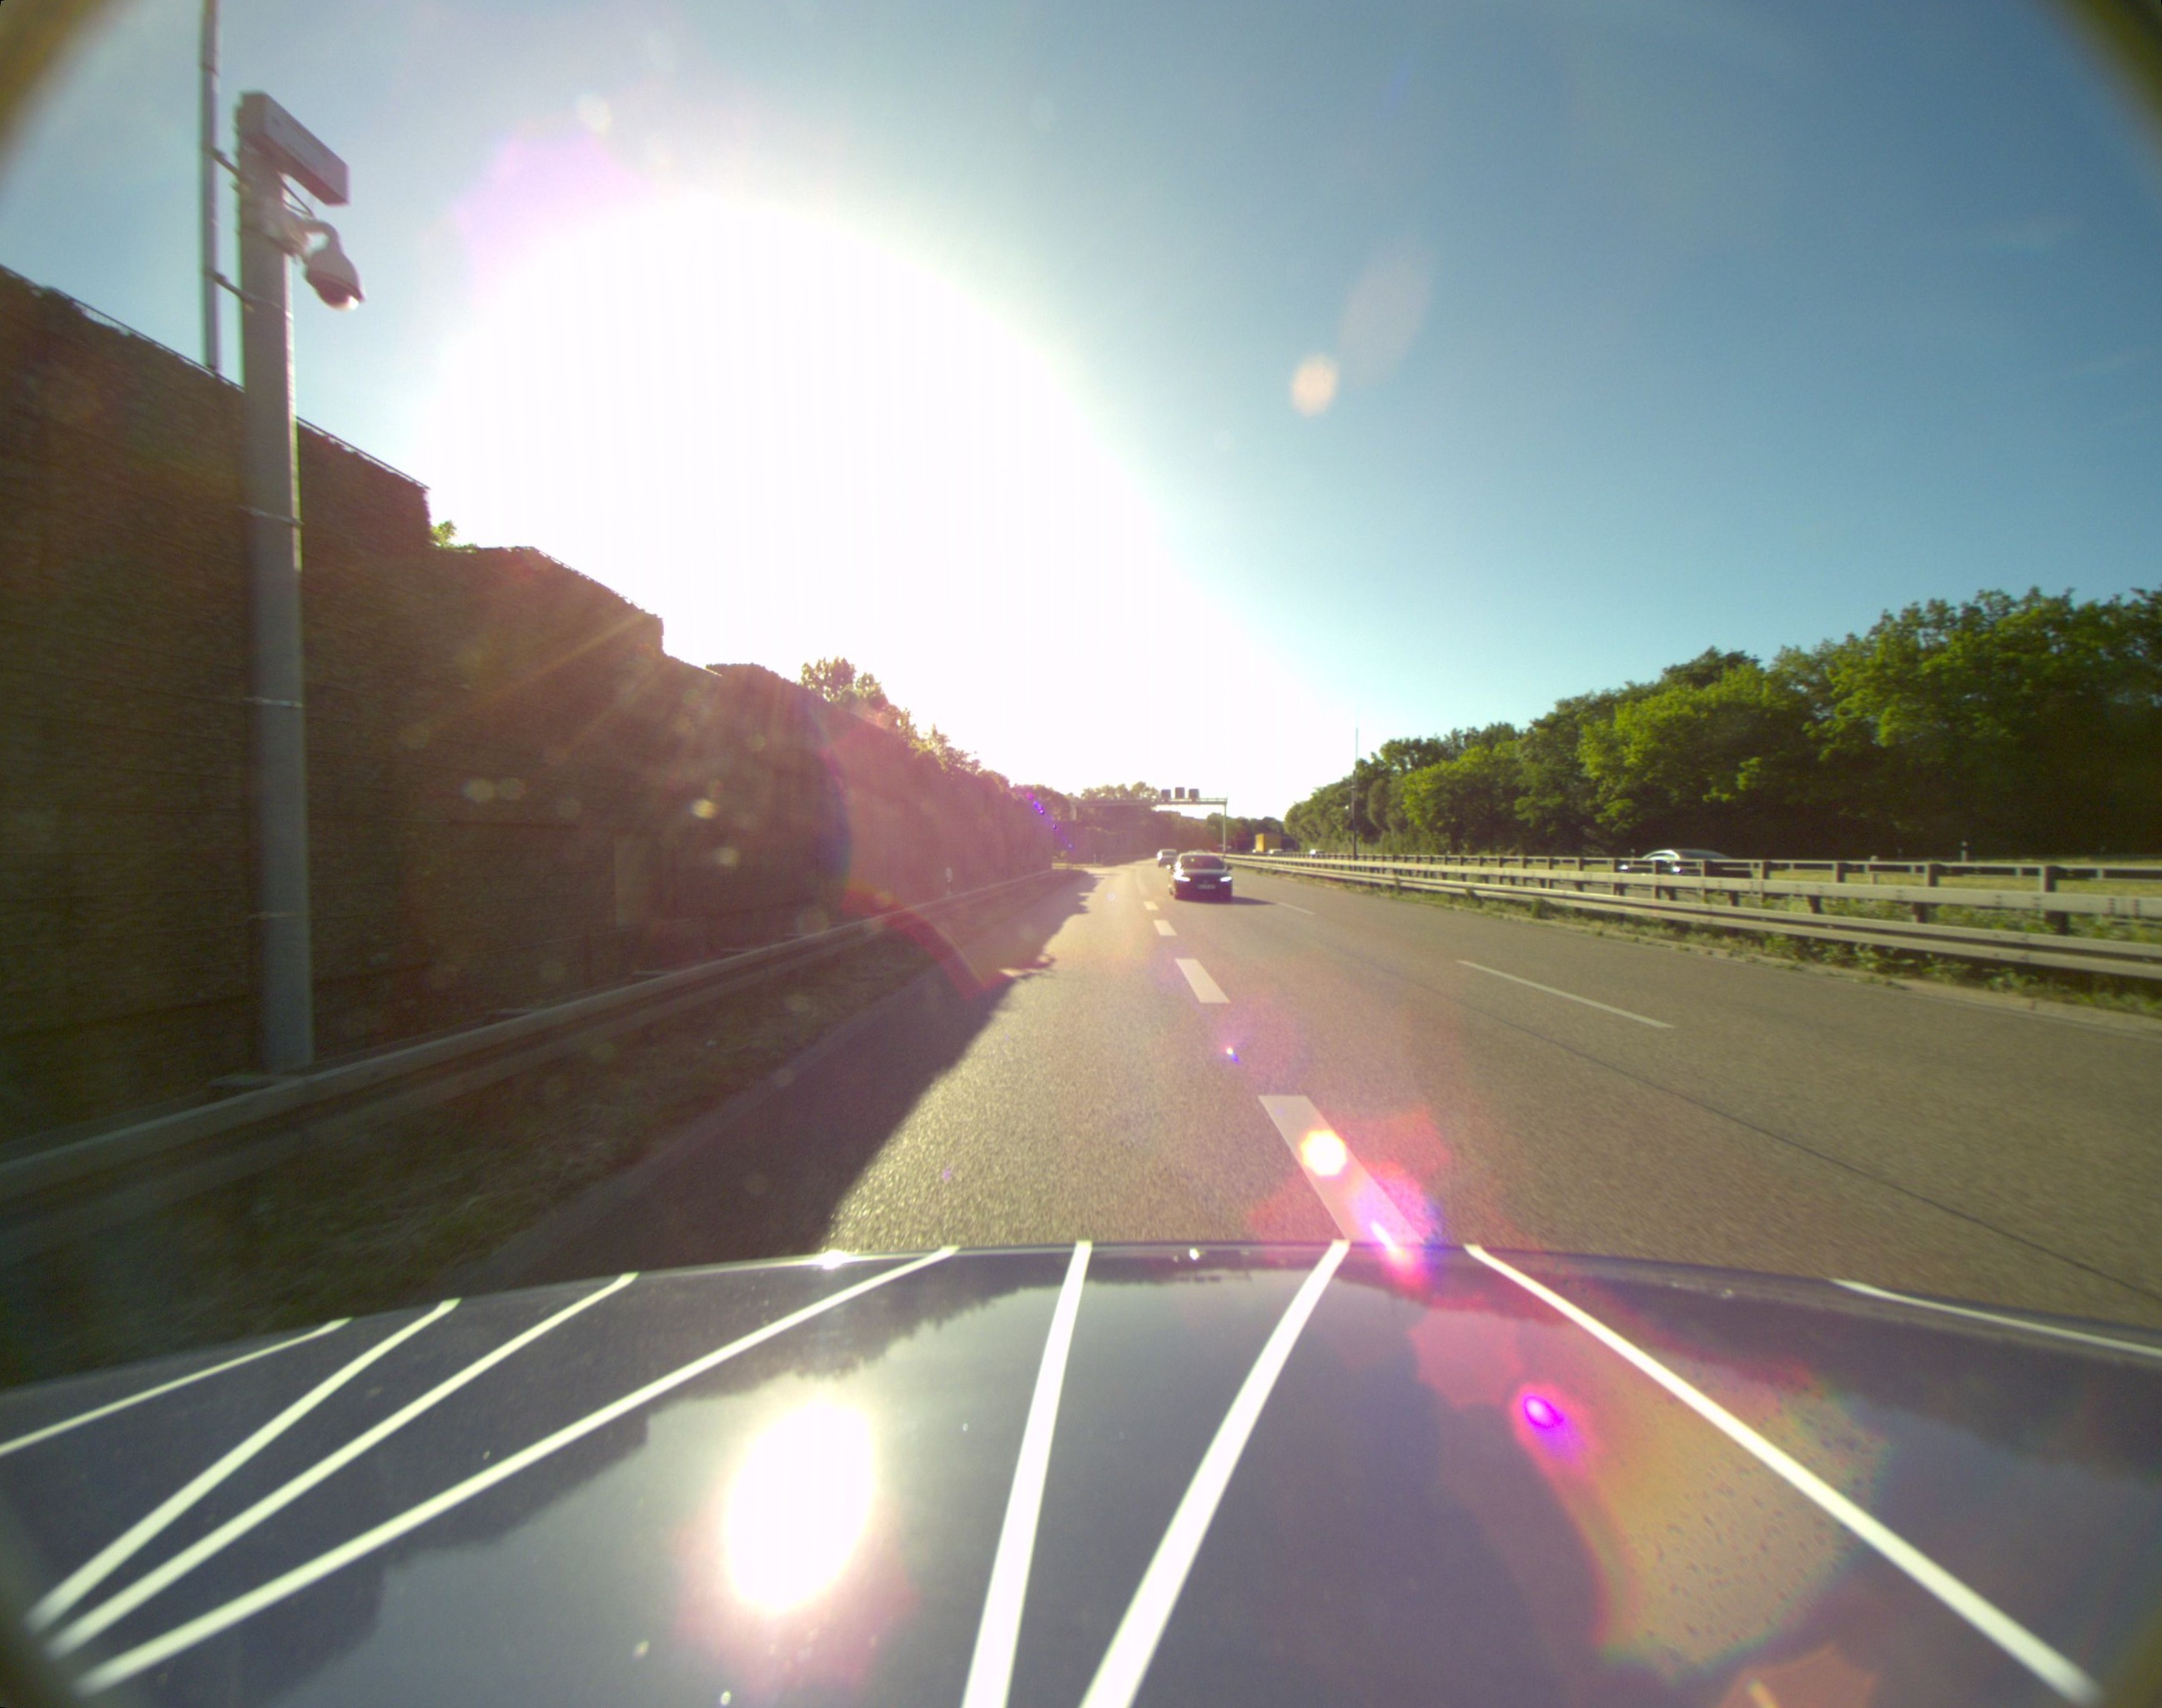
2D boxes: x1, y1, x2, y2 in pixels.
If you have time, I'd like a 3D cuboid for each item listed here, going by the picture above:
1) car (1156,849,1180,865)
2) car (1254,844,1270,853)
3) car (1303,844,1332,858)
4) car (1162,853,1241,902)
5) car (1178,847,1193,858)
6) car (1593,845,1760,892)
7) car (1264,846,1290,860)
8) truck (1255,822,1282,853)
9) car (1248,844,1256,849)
[{"bbox_3d":[8.108,0.266,70.943,1.998,1.406,4.831,-1,1,4],"label":"car"},{"bbox_3d":[29.796,-0.914,125.316,1.998,1.406,4.832,-1,1,6],"label":"car"},{"bbox_3d":[24.486,-0.311,78.699,1.997,1.406,4.832,-1,1,7],"label":"car"},{"bbox_3d":[3.844,0.695,25.005,1.998,1.406,4.831,0,1,2],"label":"car"},{"bbox_3d":[15.338,-0.234,112.126,1.998,1.406,4.832,-1,1,6],"label":"car"},{"bbox_3d":[19.938,0.432,25.777,1.998,1.406,4.831,-1,1,2],"label":"car"},{"bbox_3d":[20.491,-0.157,79.771,1.997,1.406,4.832,-1,1,7],"label":"car"},{"bbox_3d":[28.729,-2.544,116.531,3.171,4.394,8.023,-2,1,9],"label":"truck"},{"bbox_3d":[48.417,-2.119,214.696,1.997,1.406,4.834,-1,1,10],"label":"car"}]
